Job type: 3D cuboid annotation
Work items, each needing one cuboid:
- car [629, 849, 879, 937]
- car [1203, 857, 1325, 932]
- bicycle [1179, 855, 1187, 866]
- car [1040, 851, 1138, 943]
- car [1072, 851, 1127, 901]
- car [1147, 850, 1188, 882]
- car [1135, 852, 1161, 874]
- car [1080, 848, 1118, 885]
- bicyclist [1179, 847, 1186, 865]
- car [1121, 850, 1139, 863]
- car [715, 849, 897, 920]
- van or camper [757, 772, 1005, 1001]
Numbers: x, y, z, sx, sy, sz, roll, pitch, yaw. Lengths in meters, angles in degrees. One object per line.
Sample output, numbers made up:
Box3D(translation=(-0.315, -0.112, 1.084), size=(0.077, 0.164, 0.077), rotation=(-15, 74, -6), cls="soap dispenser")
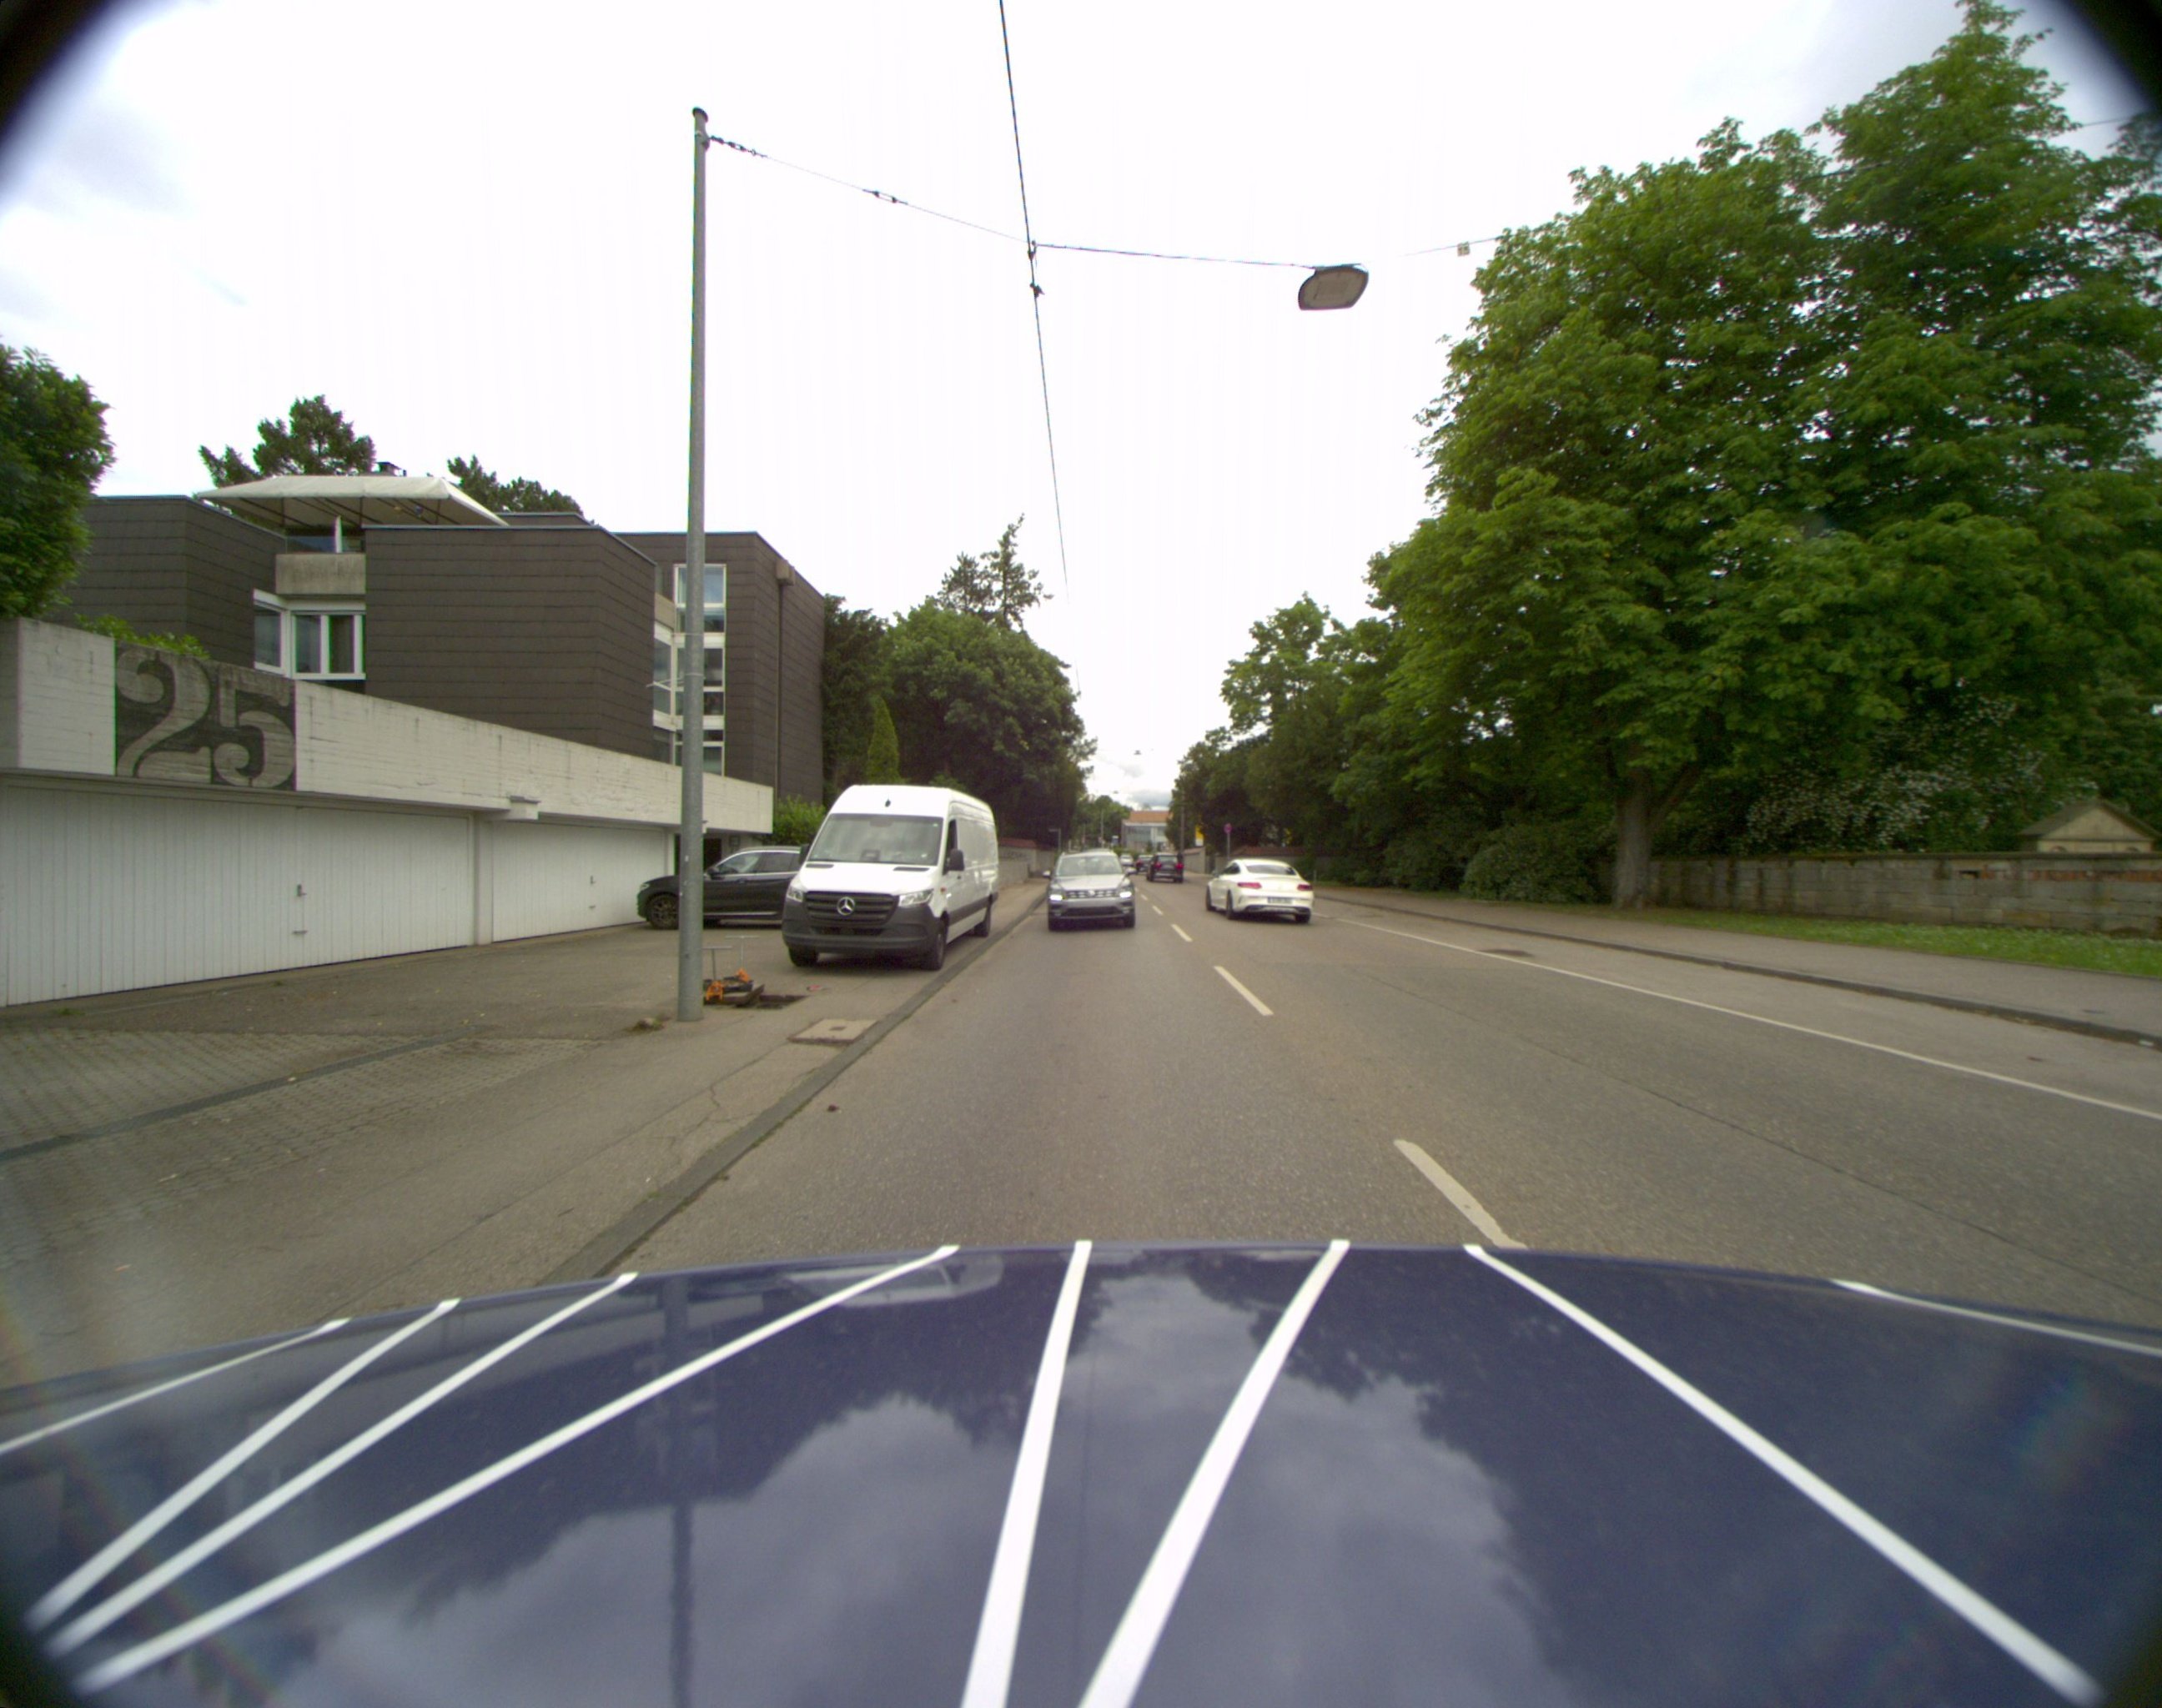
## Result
Box3D(translation=(-6.568, 0.739, 15.554), size=(4.392, 1.665, 1.695), rotation=(0, 1, 2), cls="car")
Box3D(translation=(4.207, 0.853, 18.310), size=(1.819, 1.411, 4.828), rotation=(3, 1, 1), cls="car")
Box3D(translation=(9.265, 0.594, 69.150), size=(0.496, 0.959, 1.748), rotation=(-3, 1, 2), cls="bicycle")
Box3D(translation=(0.204, 0.824, 17.118), size=(1.819, 1.690, 4.718), rotation=(-2, 1, 1), cls="car")
Box3D(translation=(0.679, 0.730, 27.889), size=(1.819, 1.647, 4.488), rotation=(-1, 1, 1), cls="car")
Box3D(translation=(4.864, 0.630, 43.148), size=(1.885, 1.635, 4.127), rotation=(2, 1, 1), cls="car")
Box3D(translation=(5.071, 0.664, 57.841), size=(1.705, 1.475, 4.000), rotation=(2, 1, 1), cls="car")
Box3D(translation=(0.912, 0.572, 38.742), size=(1.819, 1.733, 4.488), rotation=(-1, 1, 1), cls="car")
Box3D(translation=(9.233, 0.169, 69.033), size=(0.489, 1.674, 0.588), rotation=(-3, 1, 1), cls="bicyclist")
Box3D(translation=(5.556, 0.260, 86.594), size=(1.761, 1.395, 4.413), rotation=(2, 1, -1), cls="car")
Box3D(translation=(-6.813, 0.716, 19.074), size=(3.909, 1.642, 1.745), rotation=(0, 1, 5), cls="car")
Box3D(translation=(-2.691, 0.354, 12.211), size=(1.996, 2.610, 6.544), rotation=(2, 1, 2), cls="van or camper")
